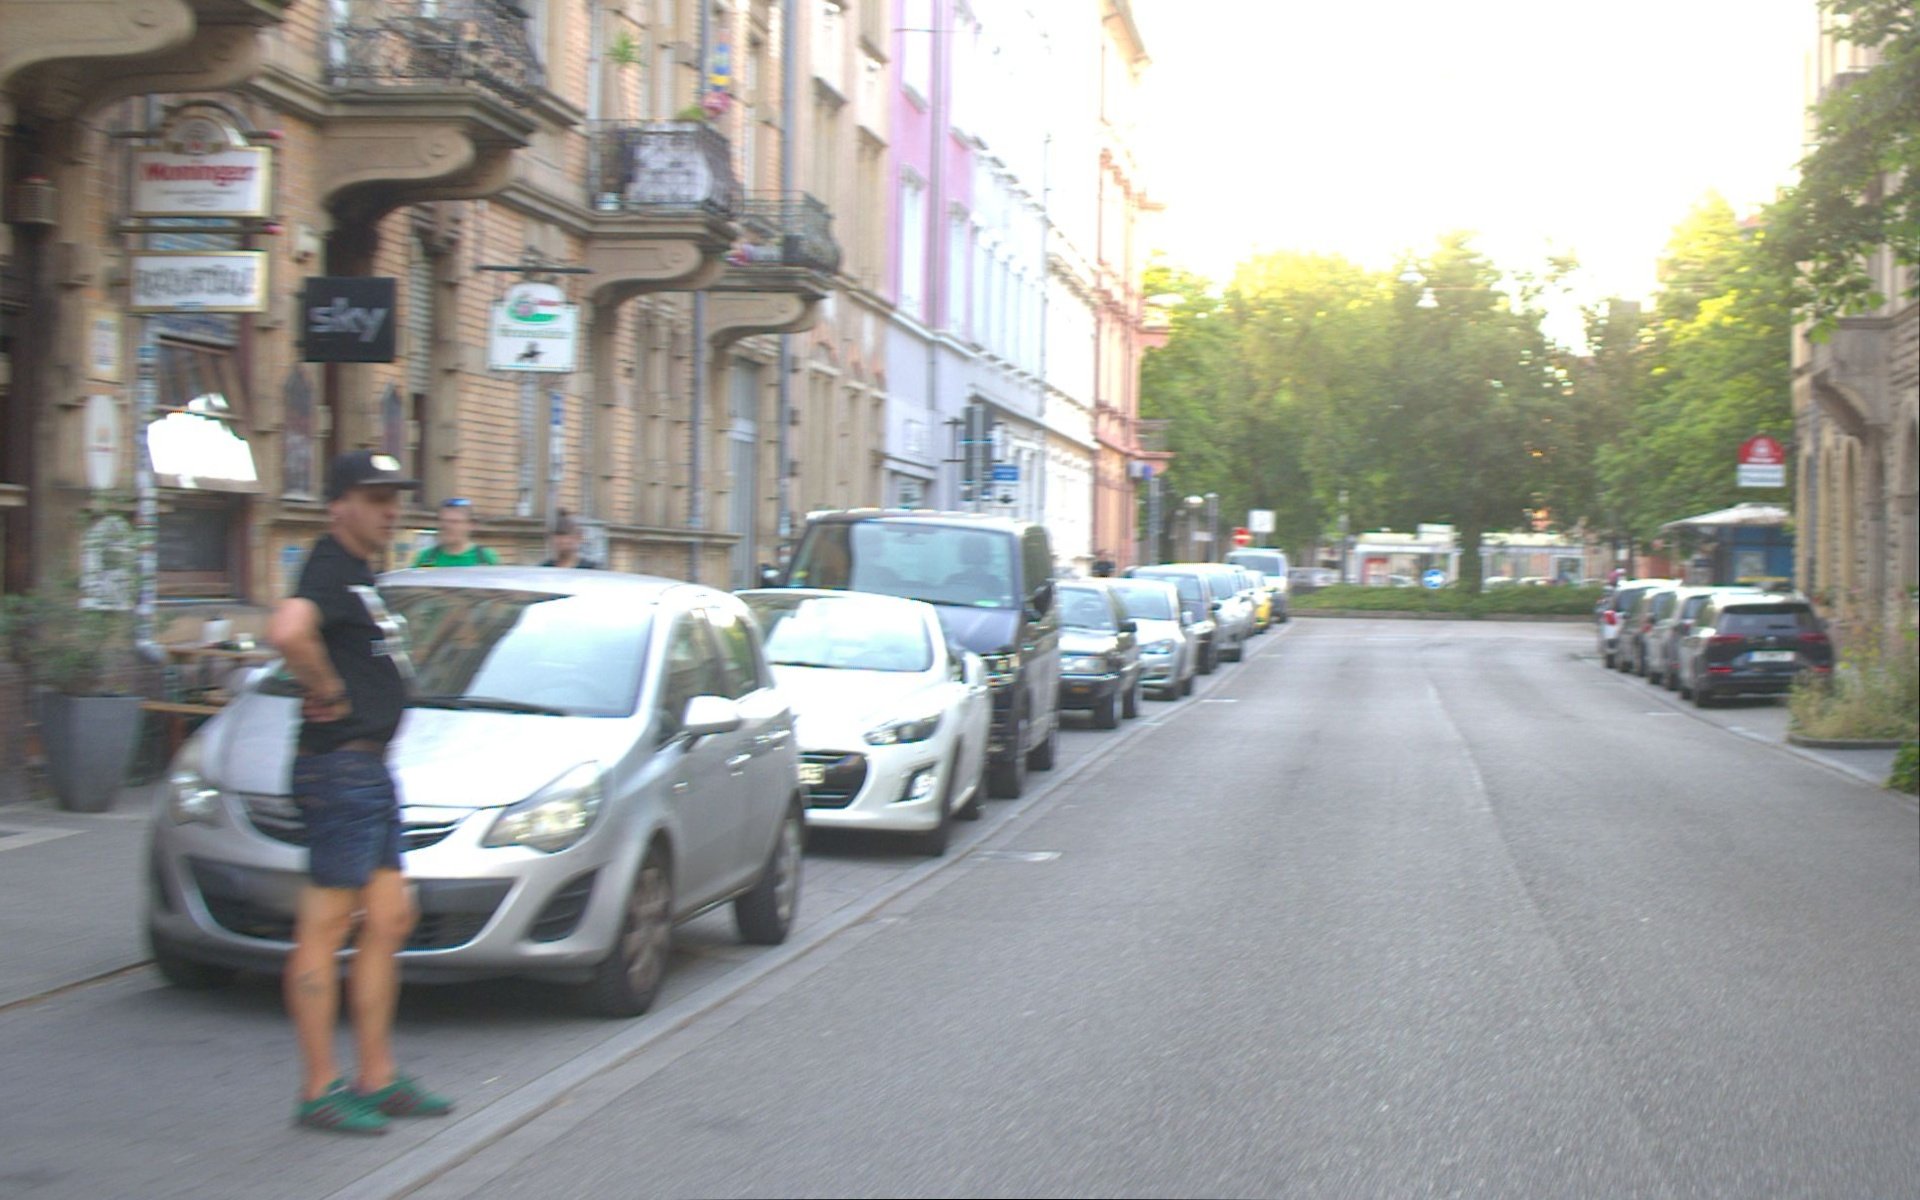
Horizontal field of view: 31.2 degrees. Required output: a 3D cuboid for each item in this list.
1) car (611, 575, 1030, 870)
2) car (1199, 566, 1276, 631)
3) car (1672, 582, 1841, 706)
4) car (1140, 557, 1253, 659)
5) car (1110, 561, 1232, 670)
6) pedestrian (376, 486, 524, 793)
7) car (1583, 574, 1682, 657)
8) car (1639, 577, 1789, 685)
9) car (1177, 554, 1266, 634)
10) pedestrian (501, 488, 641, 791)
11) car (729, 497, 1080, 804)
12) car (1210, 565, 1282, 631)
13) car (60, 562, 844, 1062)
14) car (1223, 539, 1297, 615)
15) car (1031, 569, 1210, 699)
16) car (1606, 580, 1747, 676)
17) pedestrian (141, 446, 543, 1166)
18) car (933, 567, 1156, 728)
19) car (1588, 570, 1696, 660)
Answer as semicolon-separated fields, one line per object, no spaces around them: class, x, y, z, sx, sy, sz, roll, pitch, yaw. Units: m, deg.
car;-0.689;0.617;20.166;1.784;1.418;4.484;3;1;5
car;6.576;-0.059;81.425;1.699;1.421;4.021;3;1;5
car;10.235;0.526;44.420;1.676;1.424;4.477;-3;0;8
car;4.084;0.117;59.190;1.845;1.653;4.252;1;0;4
car;3.293;0.207;53.176;1.636;1.560;3.780;2;1;6
pedestrian;-3.066;0.219;20.717;0.580;1.765;0.997;4;2;3
car;13.023;0.280;66.751;1.677;1.496;4.016;-2;0;9
car;11.012;0.422;50.411;1.676;1.451;4.229;-2;0;6
car;5.749;-0.150;75.226;1.699;1.615;4.021;3;1;7
pedestrian;-2.357;0.225;20.886;0.605;1.766;0.777;4;2;3
car;-0.284;0.302;25.211;1.993;1.917;4.950;3;1;5
car;7.262;-0.064;87.315;1.699;1.547;4.021;3;1;5
car;-1.669;0.633;12.713;1.717;1.452;3.999;3;1;8
car;8.305;-0.637;95.392;1.811;1.970;4.186;3;1;3
car;2.088;0.393;43.620;1.835;1.453;4.205;4;1;7
car;11.616;0.432;55.940;1.676;1.451;3.800;-2;0;4
pedestrian;-1.588;0.506;8.962;0.554;1.749;1.021;2;0;18
car;0.924;0.446;34.548;1.737;1.413;4.777;3;0;7
car;12.058;0.243;60.961;1.677;1.496;3.899;-2;0;9
